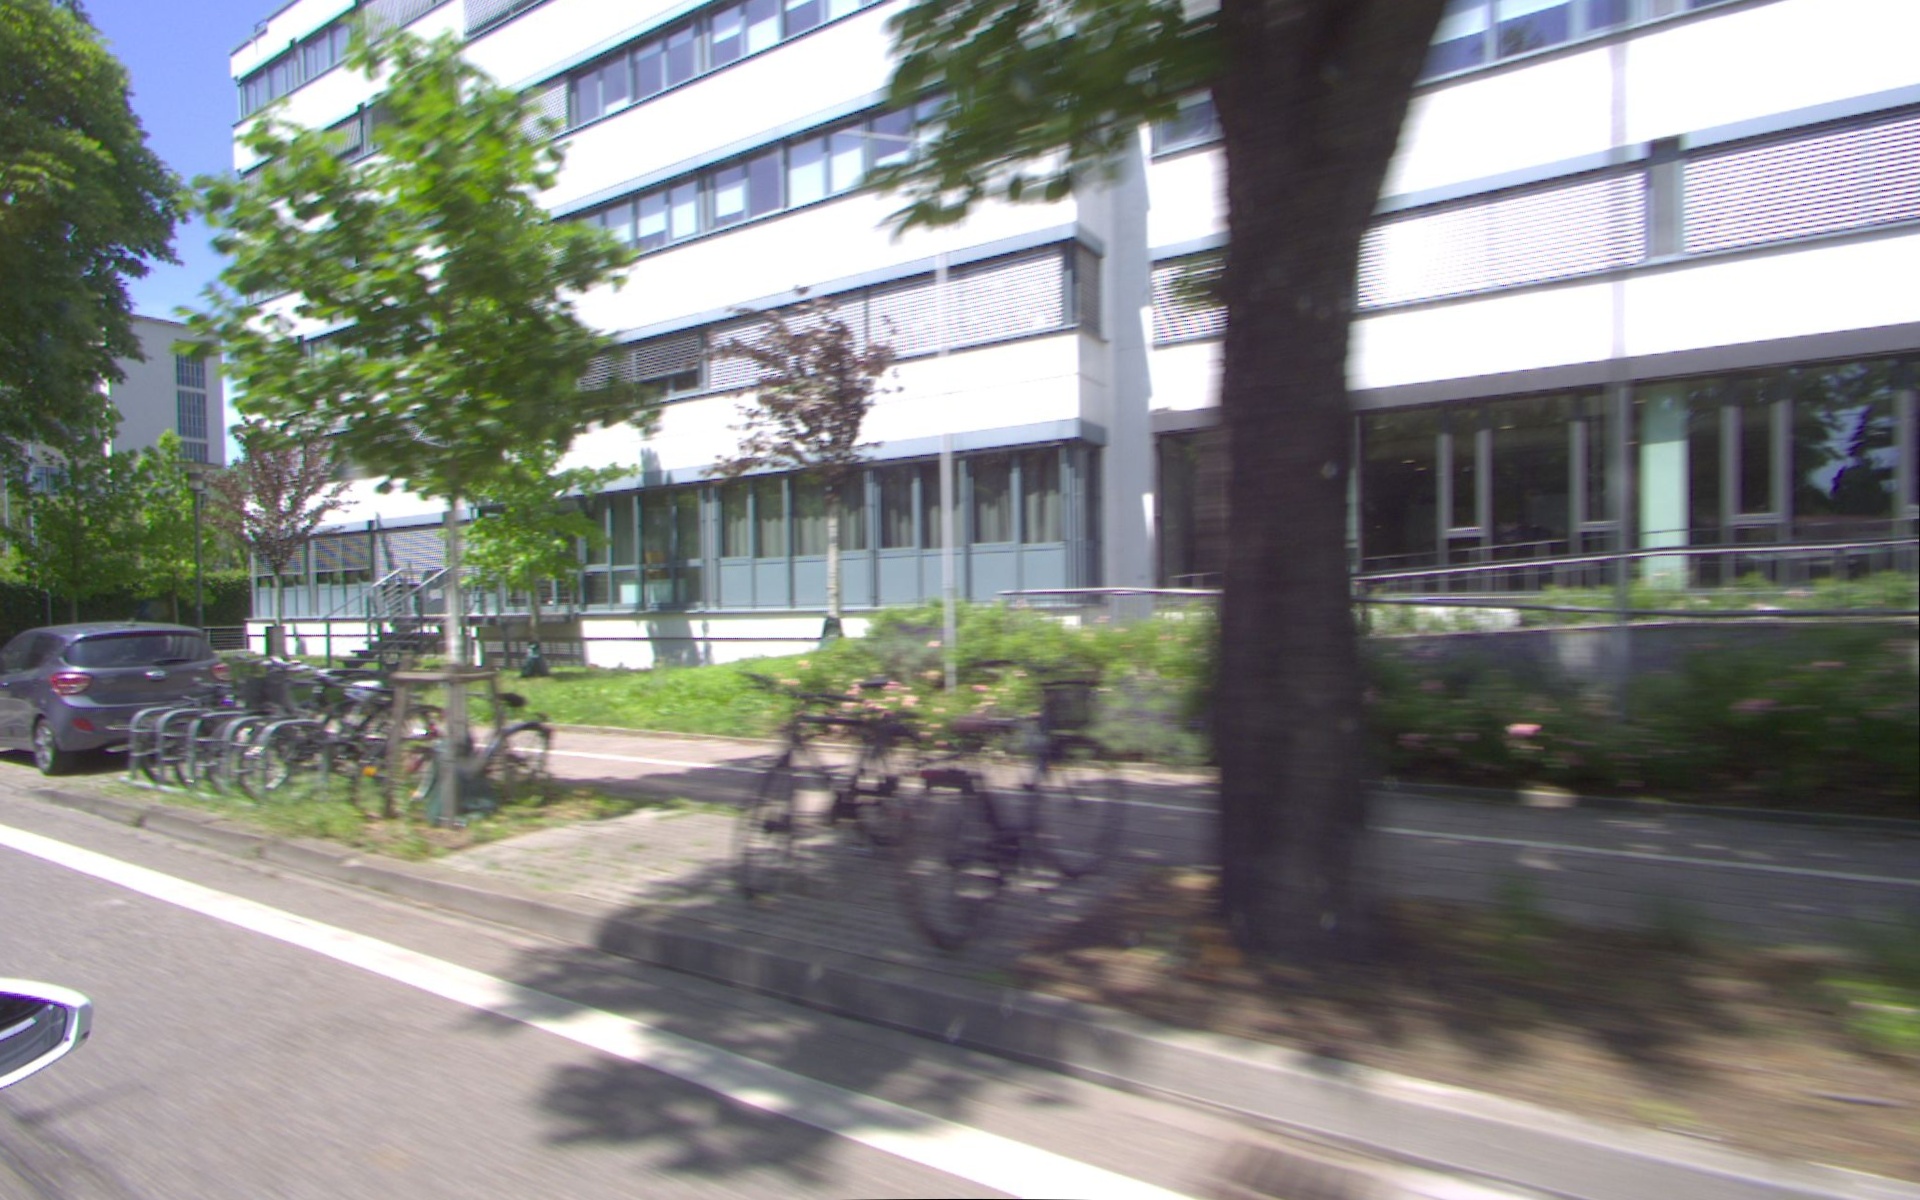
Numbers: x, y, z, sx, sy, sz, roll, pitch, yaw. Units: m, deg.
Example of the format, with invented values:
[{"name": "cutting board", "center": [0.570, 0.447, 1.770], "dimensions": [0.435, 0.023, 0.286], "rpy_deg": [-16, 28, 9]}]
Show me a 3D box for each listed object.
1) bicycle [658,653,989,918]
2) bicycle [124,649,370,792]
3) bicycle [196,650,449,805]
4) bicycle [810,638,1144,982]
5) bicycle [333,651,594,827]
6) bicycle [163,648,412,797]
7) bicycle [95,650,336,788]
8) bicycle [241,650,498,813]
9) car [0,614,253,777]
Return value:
[{"name": "bicycle", "center": [-0.651, 0.881, 5.429], "dimensions": [0.709, 1.099, 1.819], "rpy_deg": [-2, 0, 35]}, {"name": "bicycle", "center": [-6.425, 1.035, 9.123], "dimensions": [0.540, 1.099, 1.747], "rpy_deg": [0, 0, 32]}, {"name": "bicycle", "center": [-5.343, 1.018, 8.515], "dimensions": [0.540, 1.099, 1.747], "rpy_deg": [0, 0, 32]}, {"name": "bicycle", "center": [0.183, 0.819, 4.694], "dimensions": [0.684, 1.198, 1.879], "rpy_deg": [-1, 0, 32]}, {"name": "bicycle", "center": [-3.690, 0.979, 7.600], "dimensions": [0.540, 1.099, 1.747], "rpy_deg": [0, 0, 32]}, {"name": "bicycle", "center": [-5.854, 1.014, 8.831], "dimensions": [0.540, 1.099, 1.747], "rpy_deg": [0, 0, 32]}, {"name": "bicycle", "center": [-6.965, 1.063, 9.466], "dimensions": [0.540, 1.099, 1.747], "rpy_deg": [0, 0, 32]}, {"name": "bicycle", "center": [-4.736, 1.002, 8.159], "dimensions": [0.540, 1.099, 1.747], "rpy_deg": [0, 0, 32]}, {"name": "car", "center": [-9.847, 0.959, 11.375], "dimensions": [3.575, 1.523, 1.684], "rpy_deg": [-1, 1, 32]}]
